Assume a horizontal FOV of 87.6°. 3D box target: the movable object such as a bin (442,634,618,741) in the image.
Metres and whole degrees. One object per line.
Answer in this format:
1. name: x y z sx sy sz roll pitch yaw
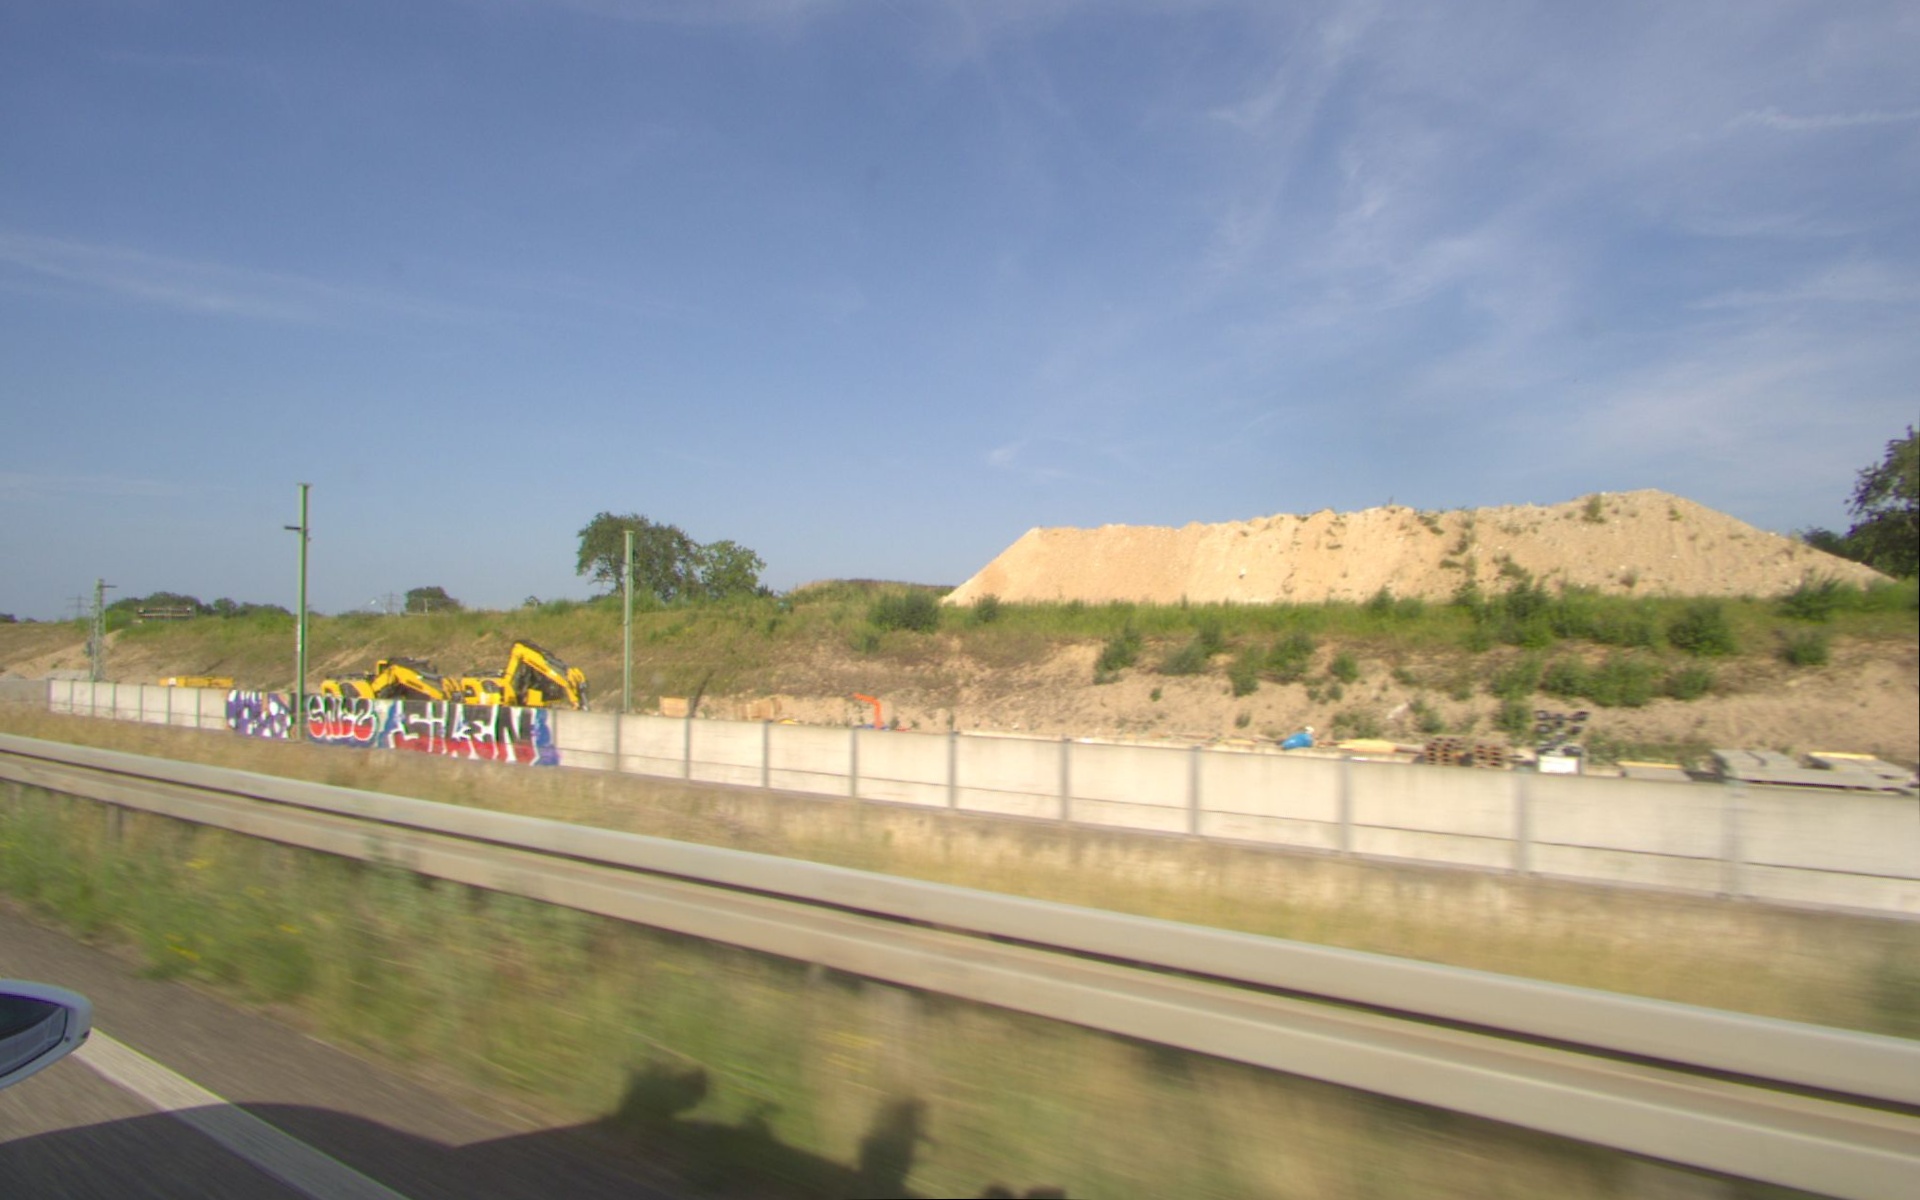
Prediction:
1. movable object such as a bin: -17.472 3.384 40.530 7.428 3.935 2.792 -1 -2 32

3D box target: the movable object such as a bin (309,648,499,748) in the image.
1. movable object such as a bin: -20.826 3.488 37.349 7.956 3.280 2.618 -1 -2 32
